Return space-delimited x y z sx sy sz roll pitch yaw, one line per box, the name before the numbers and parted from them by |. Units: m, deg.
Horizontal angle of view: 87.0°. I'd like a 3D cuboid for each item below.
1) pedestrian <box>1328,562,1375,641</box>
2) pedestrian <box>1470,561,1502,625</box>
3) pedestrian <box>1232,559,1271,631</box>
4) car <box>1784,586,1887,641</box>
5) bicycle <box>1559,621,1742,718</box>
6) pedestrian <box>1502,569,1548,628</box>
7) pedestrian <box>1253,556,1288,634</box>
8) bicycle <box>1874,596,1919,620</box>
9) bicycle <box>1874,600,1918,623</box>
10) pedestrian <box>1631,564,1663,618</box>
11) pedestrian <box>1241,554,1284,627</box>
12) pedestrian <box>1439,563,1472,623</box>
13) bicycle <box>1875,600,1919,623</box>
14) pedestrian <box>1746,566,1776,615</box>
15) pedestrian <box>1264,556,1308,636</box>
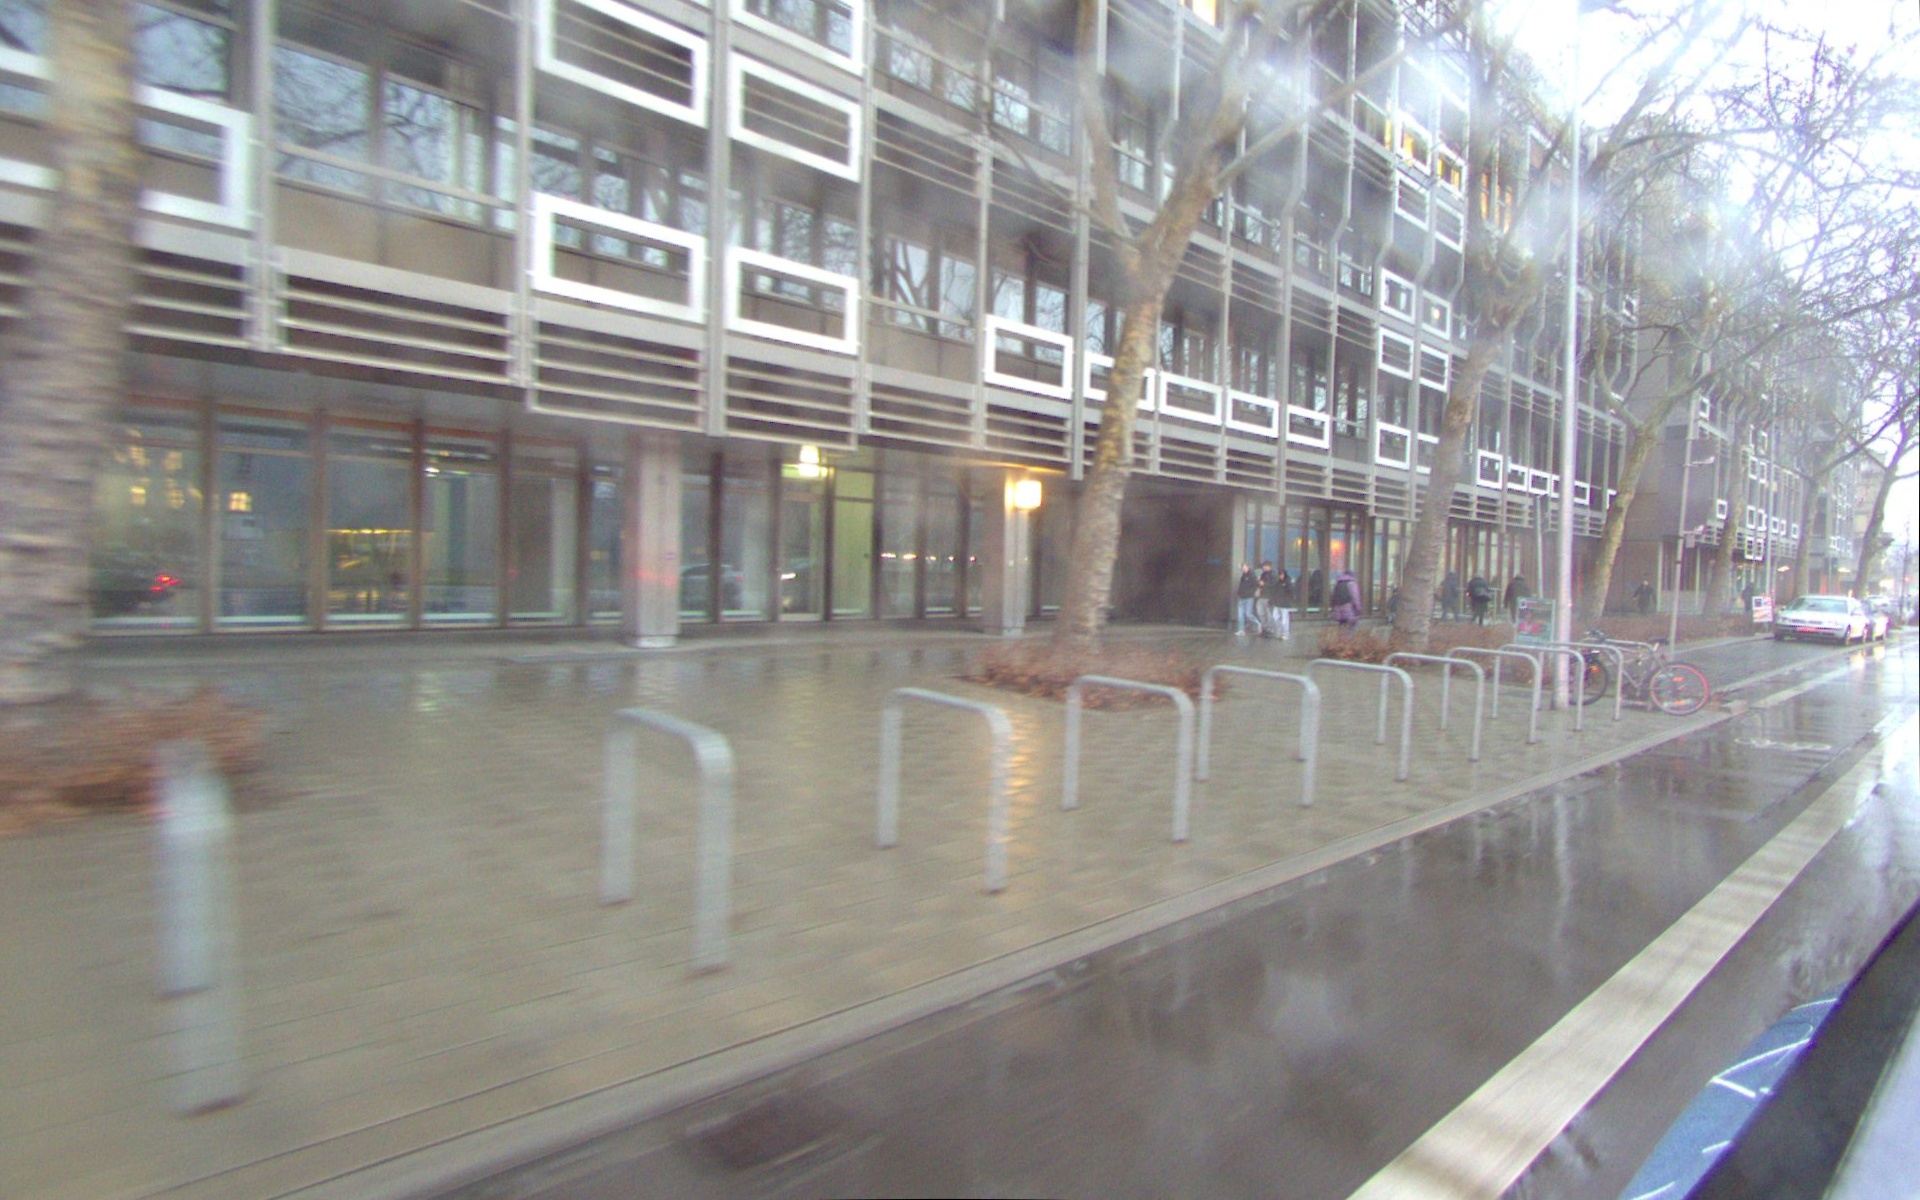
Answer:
pedestrian | 7.930 0.016 20.509 0.604 1.563 0.649 0 2 -39
pedestrian | 14.661 -0.204 28.219 0.656 1.739 0.833 2 2 34
pedestrian | 6.551 -0.125 22.740 0.732 1.583 0.484 0 2 -42
car | 26.613 0.360 30.742 3.859 1.449 1.609 0 5 -39
bicycle | 8.655 0.832 12.746 0.607 0.986 1.789 0 4 -44
pedestrian | 15.060 -0.053 26.985 0.864 1.543 0.825 3 2 43
pedestrian | 6.832 -0.122 22.272 0.701 1.688 0.379 0 2 -40
bicycle | 43.193 0.370 46.691 1.518 1.049 0.462 1 1 43
bicycle | 44.669 0.524 48.298 1.518 1.049 0.462 1 1 43
pedestrian | 26.579 -0.344 39.162 0.723 2.038 0.821 0 2 -42
pedestrian | 7.120 -0.231 23.811 0.766 1.677 0.617 0 2 -40
pedestrian | 13.965 -0.206 28.526 0.638 1.675 0.832 2 2 37
bicycle | 44.215 0.515 47.769 1.518 1.049 0.462 1 1 43
pedestrian | 34.446 -0.416 43.503 1.006 2.038 0.790 0 2 -41
pedestrian | 7.055 -0.088 21.899 0.858 1.688 0.501 0 2 -40
